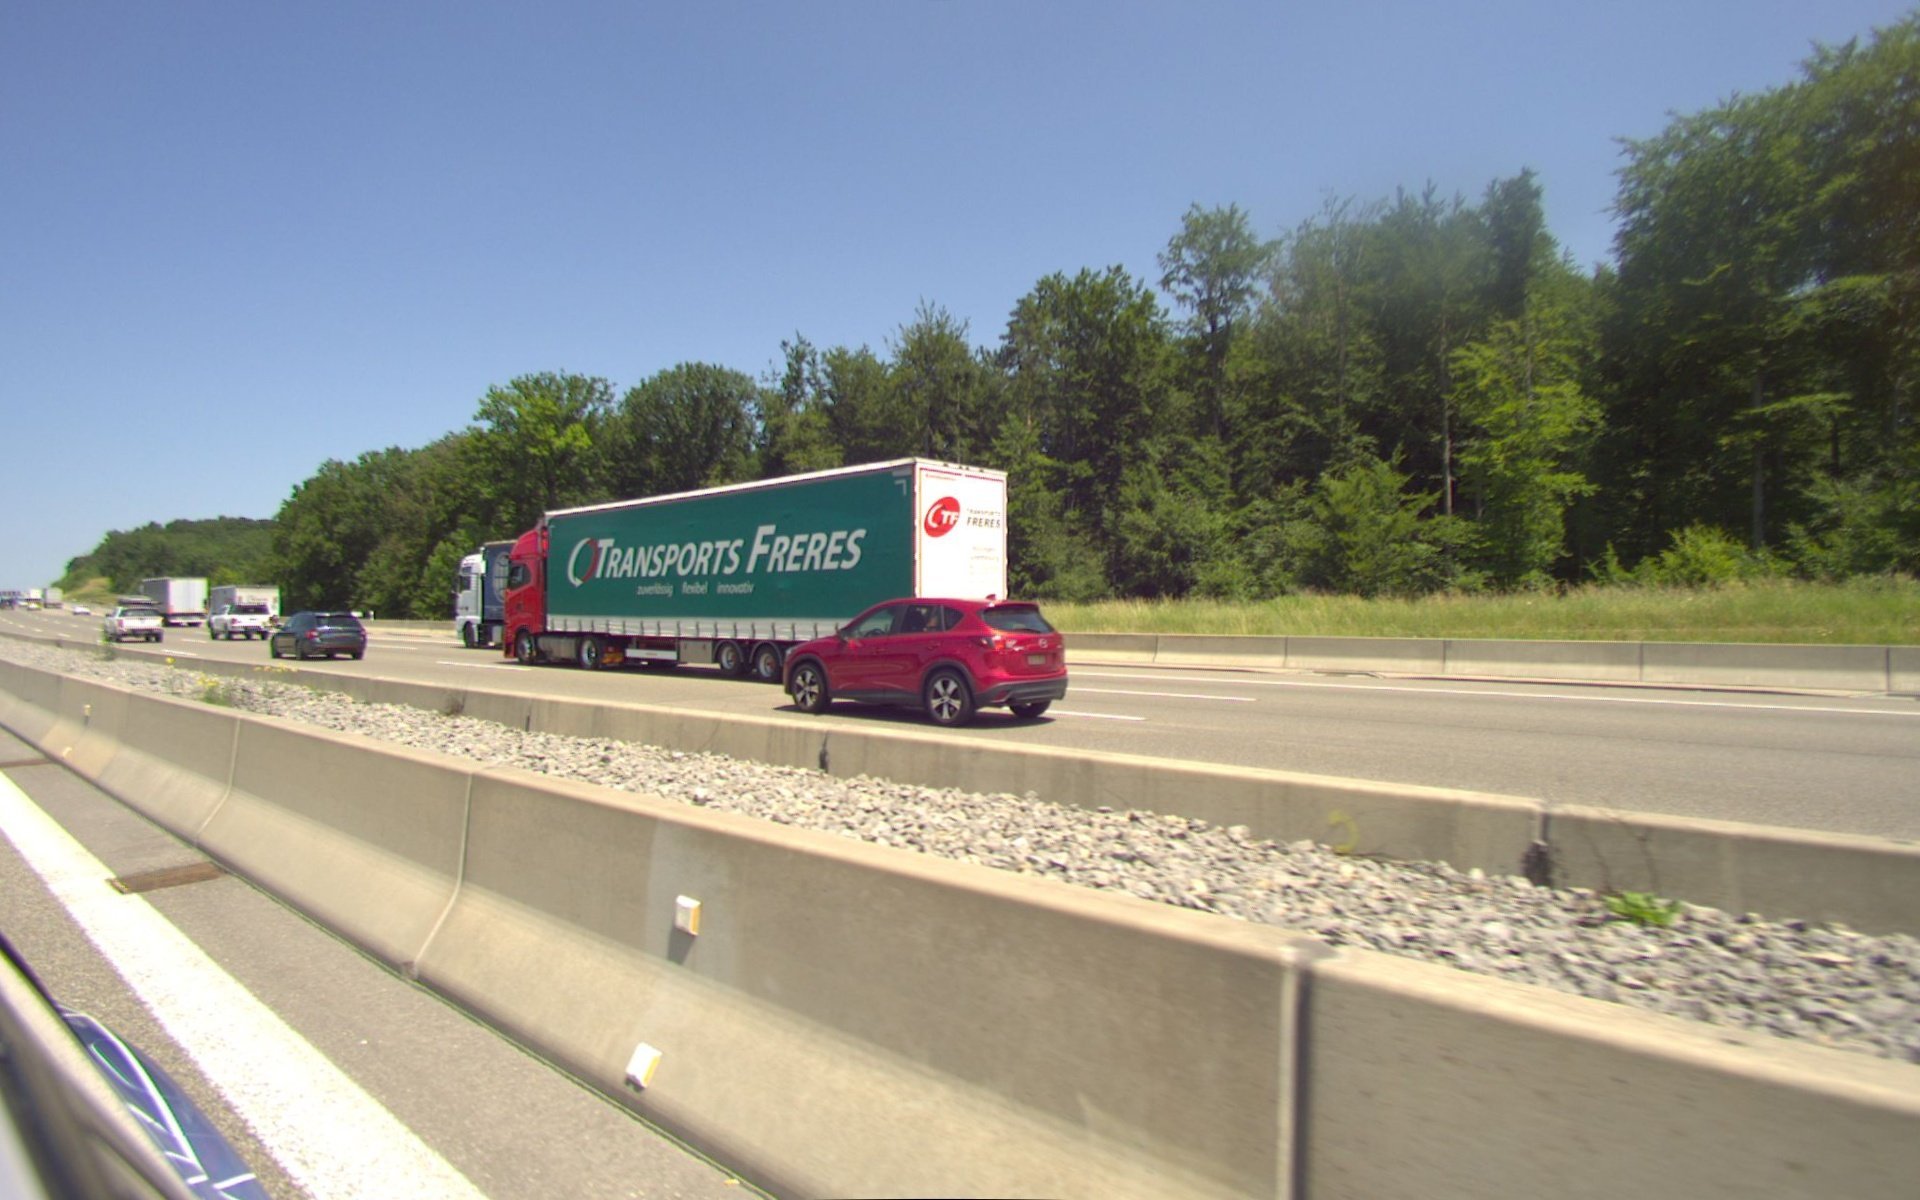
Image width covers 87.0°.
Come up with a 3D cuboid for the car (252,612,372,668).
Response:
[{"bbox_3d":[-20.345,1.187,31.665,5.258,1.564,1.790,-1,0,41],"label":"car"}]

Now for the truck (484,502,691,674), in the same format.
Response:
[{"bbox_3d":[-10.093,-0.268,27.208,5.614,4.134,2.894,-1,0,41],"label":"truck"}]

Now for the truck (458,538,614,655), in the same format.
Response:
[{"bbox_3d":[-16.221,-0.032,38.471,6.934,4.045,2.693,-2,-2,41],"label":"truck"}]

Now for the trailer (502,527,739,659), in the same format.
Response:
[{"bbox_3d":[-11.998,-0.162,34.858,10.759,3.953,2.695,-1,0,41],"label":"trailer"}]

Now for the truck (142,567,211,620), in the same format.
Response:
[{"bbox_3d":[-66.056,-0.455,85.248,9.344,4.241,2.911,-1,0,42],"label":"truck"}]

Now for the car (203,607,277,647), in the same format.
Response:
[{"bbox_3d":[-37.735,1.371,52.974,5.022,1.980,2.054,-1,0,41],"label":"car"}]

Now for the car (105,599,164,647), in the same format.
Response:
[{"bbox_3d":[-40.267,1.082,49.321,4.068,2.209,1.836,-1,0,45],"label":"car"}]

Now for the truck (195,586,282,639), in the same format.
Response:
[{"bbox_3d":[-48.372,0.865,67.711,10.096,3.330,2.728,-1,-1,43],"label":"truck"}]

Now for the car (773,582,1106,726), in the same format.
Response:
[{"bbox_3d":[-0.420,0.661,13.812,4.542,1.652,1.779,-1,-1,41],"label":"car"}]

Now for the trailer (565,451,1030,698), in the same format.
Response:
[{"bbox_3d":[-4.207,-0.383,22.022,12.148,4.131,2.906,-1,0,41],"label":"trailer"}]
